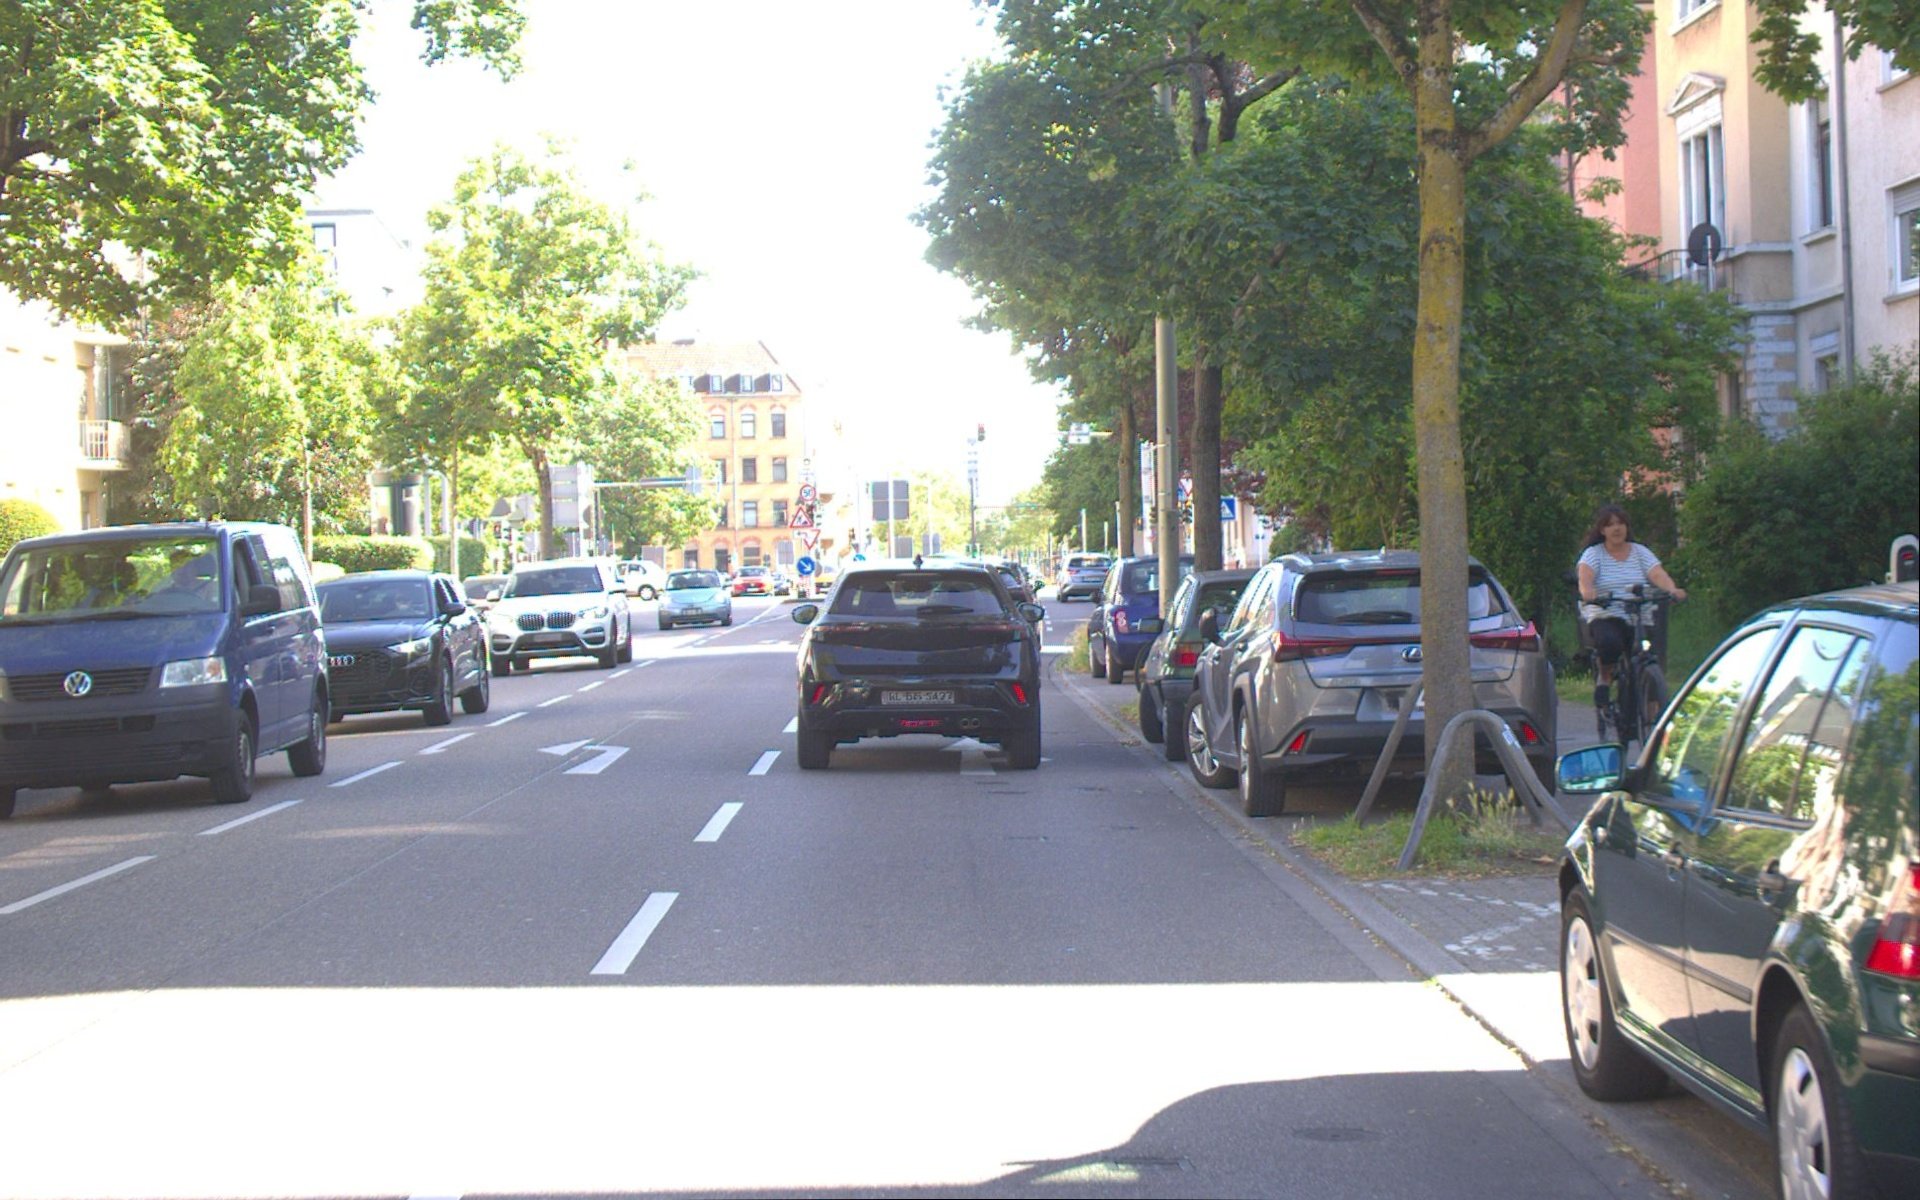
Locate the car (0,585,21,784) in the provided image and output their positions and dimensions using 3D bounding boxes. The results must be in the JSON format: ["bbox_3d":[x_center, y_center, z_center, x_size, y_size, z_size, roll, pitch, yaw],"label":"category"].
[{"bbox_3d":[-8.240,0.680,24.741,1.722,1.530,4.680,0,1,-1],"label":"car"}]

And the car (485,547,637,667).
[{"bbox_3d":[-6.068,0.071,52.714,1.806,1.642,4.673,-4,1,-1],"label":"car"}]

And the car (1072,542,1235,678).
[{"bbox_3d":[2.335,0.095,42.262,1.559,1.510,3.655,-3,1,-2],"label":"car"}]

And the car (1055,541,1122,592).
[{"bbox_3d":[3.862,-1.024,103.632,1.830,1.447,3.988,-2,1,0],"label":"car"}]

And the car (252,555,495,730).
[{"bbox_3d":[-5.917,0.379,35.150,1.719,1.560,4.343,-4,1,-1],"label":"car"}]

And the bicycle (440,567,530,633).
[{"bbox_3d":[-8.641,-0.007,62.570,1.543,1.130,0.548,-2,1,-2],"label":"bicycle"}]

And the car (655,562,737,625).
[{"bbox_3d":[-6.453,-0.169,84.298,1.737,1.377,3.937,-3,1,-1],"label":"car"}]

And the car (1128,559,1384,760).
[{"bbox_3d":[2.237,0.408,26.832,1.612,1.379,3.976,-2,1,0],"label":"car"}]

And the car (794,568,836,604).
[{"bbox_3d":[-6.224,-0.615,147.561,1.771,1.447,3.886,-2,1,-2],"label":"car"}]

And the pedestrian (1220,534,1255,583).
[{"bbox_3d":[9.487,-1.421,117.618,1.040,1.654,0.784,-2,1,-5],"label":"pedestrian"}]

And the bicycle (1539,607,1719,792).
[{"bbox_3d":[4.241,0.607,21.936,0.682,1.066,2.127,-2,1,-1],"label":"bicycle"}]

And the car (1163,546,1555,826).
[{"bbox_3d":[2.328,0.442,21.080,1.714,1.484,4.235,-2,1,-2],"label":"car"}]

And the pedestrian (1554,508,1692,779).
[{"bbox_3d":[4.219,0.267,21.917,0.669,1.676,0.776,-2,1,-1],"label":"pedestrian"}]

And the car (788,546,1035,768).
[{"bbox_3d":[-0.365,0.379,26.043,1.745,1.568,3.558,0,1,-1],"label":"car"}]

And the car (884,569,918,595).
[{"bbox_3d":[-3.383,-1.037,198.101,1.810,1.402,4.000,-2,1,1],"label":"car"}]

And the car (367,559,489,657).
[{"bbox_3d":[-8.751,0.106,56.745,1.675,1.520,3.659,1,1,-4],"label":"car"}]

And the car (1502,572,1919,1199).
[{"bbox_3d":[2.473,0.670,8.216,1.692,1.423,4.147,-2,1,1],"label":"car"}]

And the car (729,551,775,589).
[{"bbox_3d":[-9.325,-1.355,154.566,1.791,1.611,4.000,-2,1,0],"label":"car"}]

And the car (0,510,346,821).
[{"bbox_3d":[-5.706,0.396,24.370,1.803,1.904,4.712,-4,1,-1],"label":"car"}]

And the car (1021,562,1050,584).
[{"bbox_3d":[5.267,-1.899,240.669,1.993,1.514,4.000,1,0,1],"label":"car"}]

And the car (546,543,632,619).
[{"bbox_3d":[-9.297,-0.506,86.316,1.818,1.827,4.563,-1,1,-2],"label":"car"}]

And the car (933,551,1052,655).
[{"bbox_3d":[0.509,0.021,56.144,1.830,1.573,3.839,-2,1,0],"label":"car"}]
